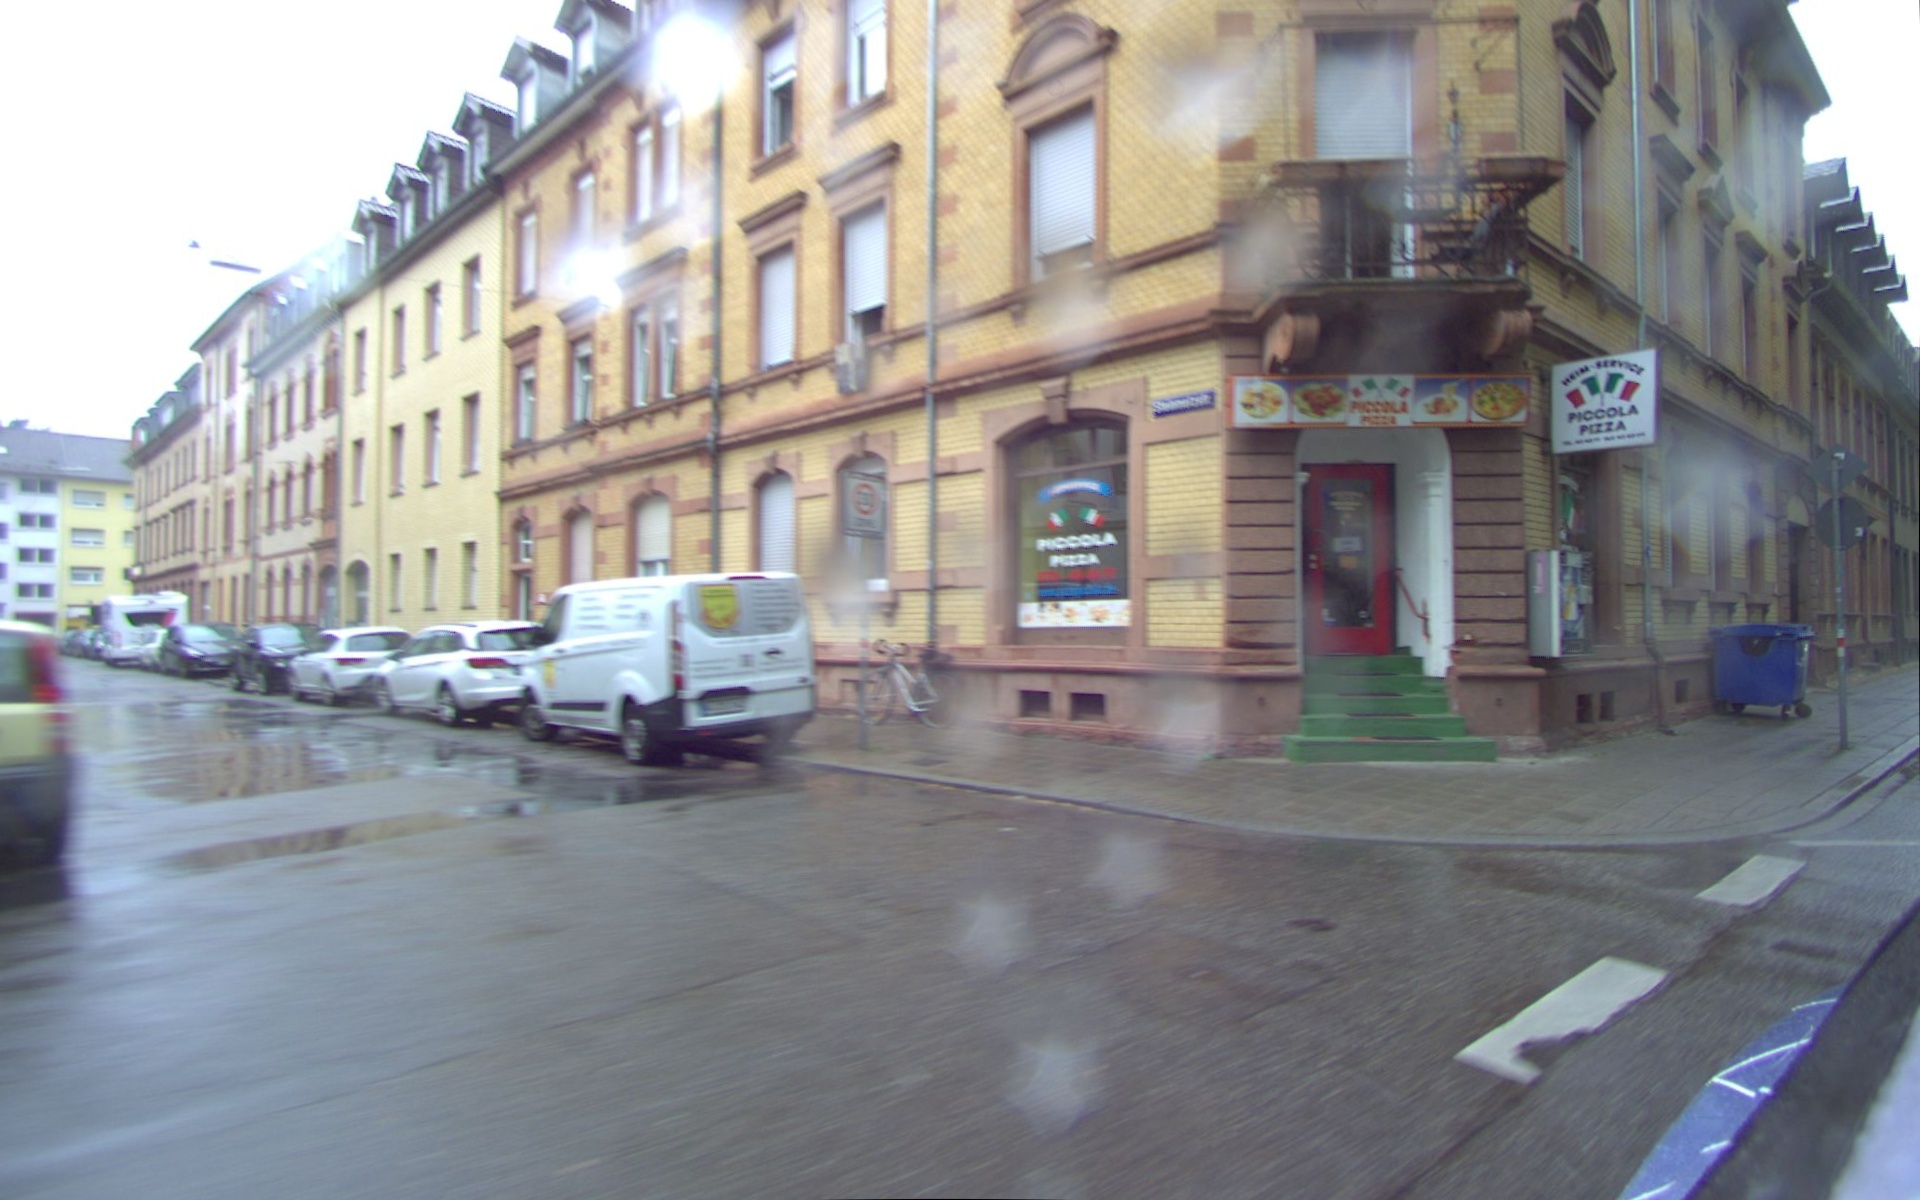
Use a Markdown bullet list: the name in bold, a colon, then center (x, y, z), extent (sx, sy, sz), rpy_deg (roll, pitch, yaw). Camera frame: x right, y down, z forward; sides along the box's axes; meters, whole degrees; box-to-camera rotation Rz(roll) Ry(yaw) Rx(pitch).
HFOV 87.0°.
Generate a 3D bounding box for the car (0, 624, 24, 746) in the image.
- **car**: center (-14.754, 1.152, 14.531), extent (3.719, 1.644, 1.689), rpy_deg (-2, -5, 45)

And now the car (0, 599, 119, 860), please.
- **car**: center (-7.032, 0.763, 6.757), extent (3.354, 1.506, 1.690), rpy_deg (-2, -5, 43)

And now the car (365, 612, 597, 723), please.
- **car**: center (-7.665, 0.976, 16.015), extent (4.226, 1.506, 1.904), rpy_deg (-2, -1, 43)

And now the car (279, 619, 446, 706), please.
- **car**: center (-11.931, 1.159, 20.092), extent (1.903, 1.506, 4.229), rpy_deg (0, -1, -45)

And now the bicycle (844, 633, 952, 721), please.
- **bicycle**: center (-0.797, 0.937, 12.756), extent (1.537, 1.020, 0.427), rpy_deg (-1, -2, 44)

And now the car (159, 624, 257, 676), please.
- **car**: center (-23.867, 1.524, 32.066), extent (1.903, 1.506, 4.229), rpy_deg (0, -1, -45)

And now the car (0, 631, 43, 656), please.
- **car**: center (-64.246, 2.925, 68.259), extent (1.737, 1.589, 3.379), rpy_deg (-2, -5, 44)

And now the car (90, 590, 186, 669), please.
- **car**: center (-32.380, 1.132, 39.794), extent (5.734, 2.906, 2.310), rpy_deg (-2, -1, 44)

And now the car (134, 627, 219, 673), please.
- **car**: center (-27.812, 1.718, 35.892), extent (1.903, 1.506, 4.229), rpy_deg (0, -1, -45)

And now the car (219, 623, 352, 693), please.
- **car**: center (-16.285, 1.321, 24.354), extent (1.903, 1.506, 4.229), rpy_deg (0, -1, -45)

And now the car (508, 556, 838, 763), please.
- **car**: center (-3.502, 0.576, 11.872), extent (1.903, 1.968, 4.230), rpy_deg (-2, 1, -44)

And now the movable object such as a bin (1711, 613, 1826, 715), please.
- **movable object such as a bin**: center (11.440, 0.876, 14.315), extent (1.343, 1.318, 1.023), rpy_deg (2, 1, -41)
